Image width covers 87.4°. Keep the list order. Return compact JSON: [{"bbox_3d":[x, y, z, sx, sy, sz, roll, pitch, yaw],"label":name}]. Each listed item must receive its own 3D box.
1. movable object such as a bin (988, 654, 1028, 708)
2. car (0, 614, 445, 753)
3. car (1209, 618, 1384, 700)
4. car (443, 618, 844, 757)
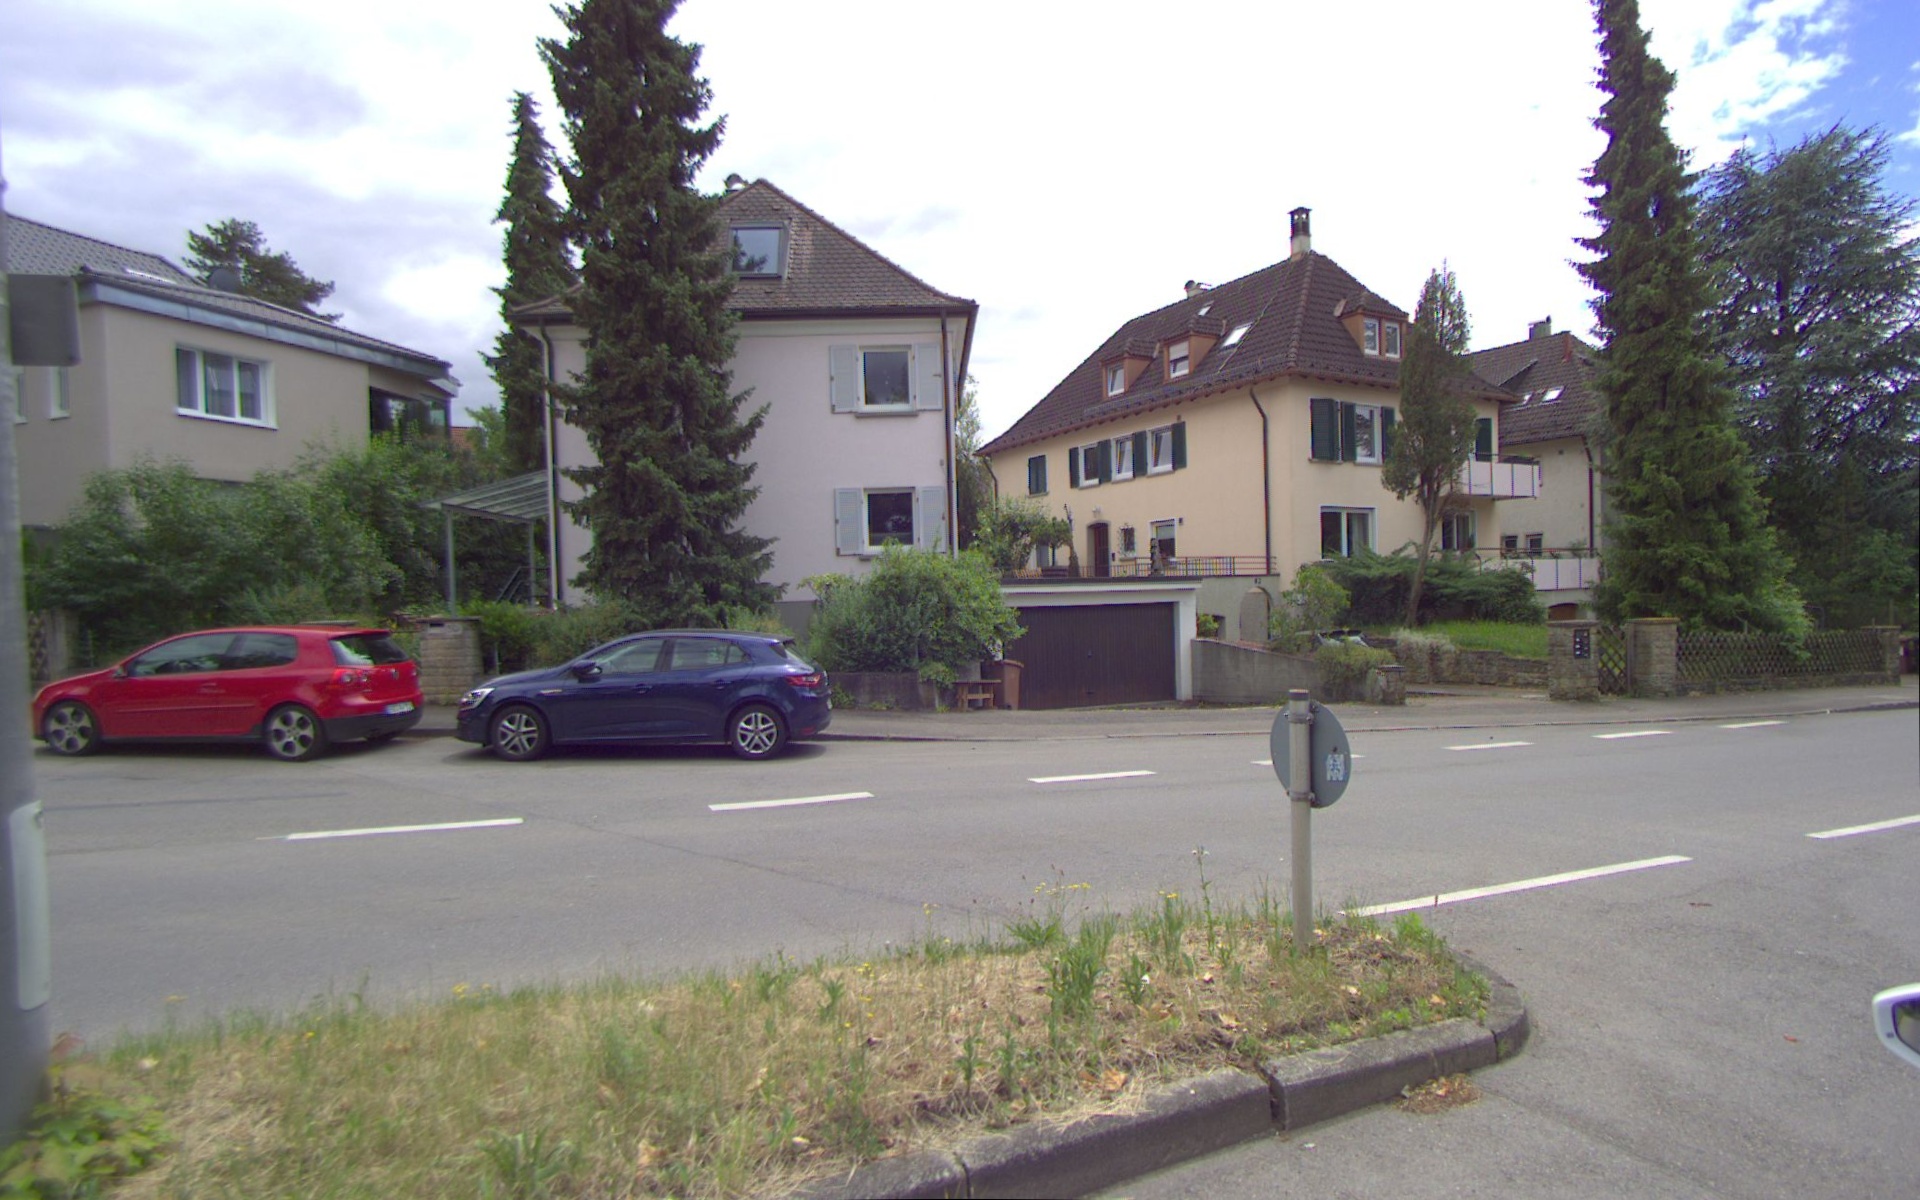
[{"bbox_3d":[0.803,1.352,16.821,0.581,0.846,0.315,-1,0,-30],"label":"movable object such as a bin"},{"bbox_3d":[-8.713,0.935,12.036,4.193,1.493,1.733,0,0,2],"label":"car"},{"bbox_3d":[7.183,1.334,21.761,1.802,1.557,3.352,-2,-5,-21],"label":"car"},{"bbox_3d":[-3.566,0.983,11.954,4.231,1.493,1.732,0,0,-3],"label":"car"}]
